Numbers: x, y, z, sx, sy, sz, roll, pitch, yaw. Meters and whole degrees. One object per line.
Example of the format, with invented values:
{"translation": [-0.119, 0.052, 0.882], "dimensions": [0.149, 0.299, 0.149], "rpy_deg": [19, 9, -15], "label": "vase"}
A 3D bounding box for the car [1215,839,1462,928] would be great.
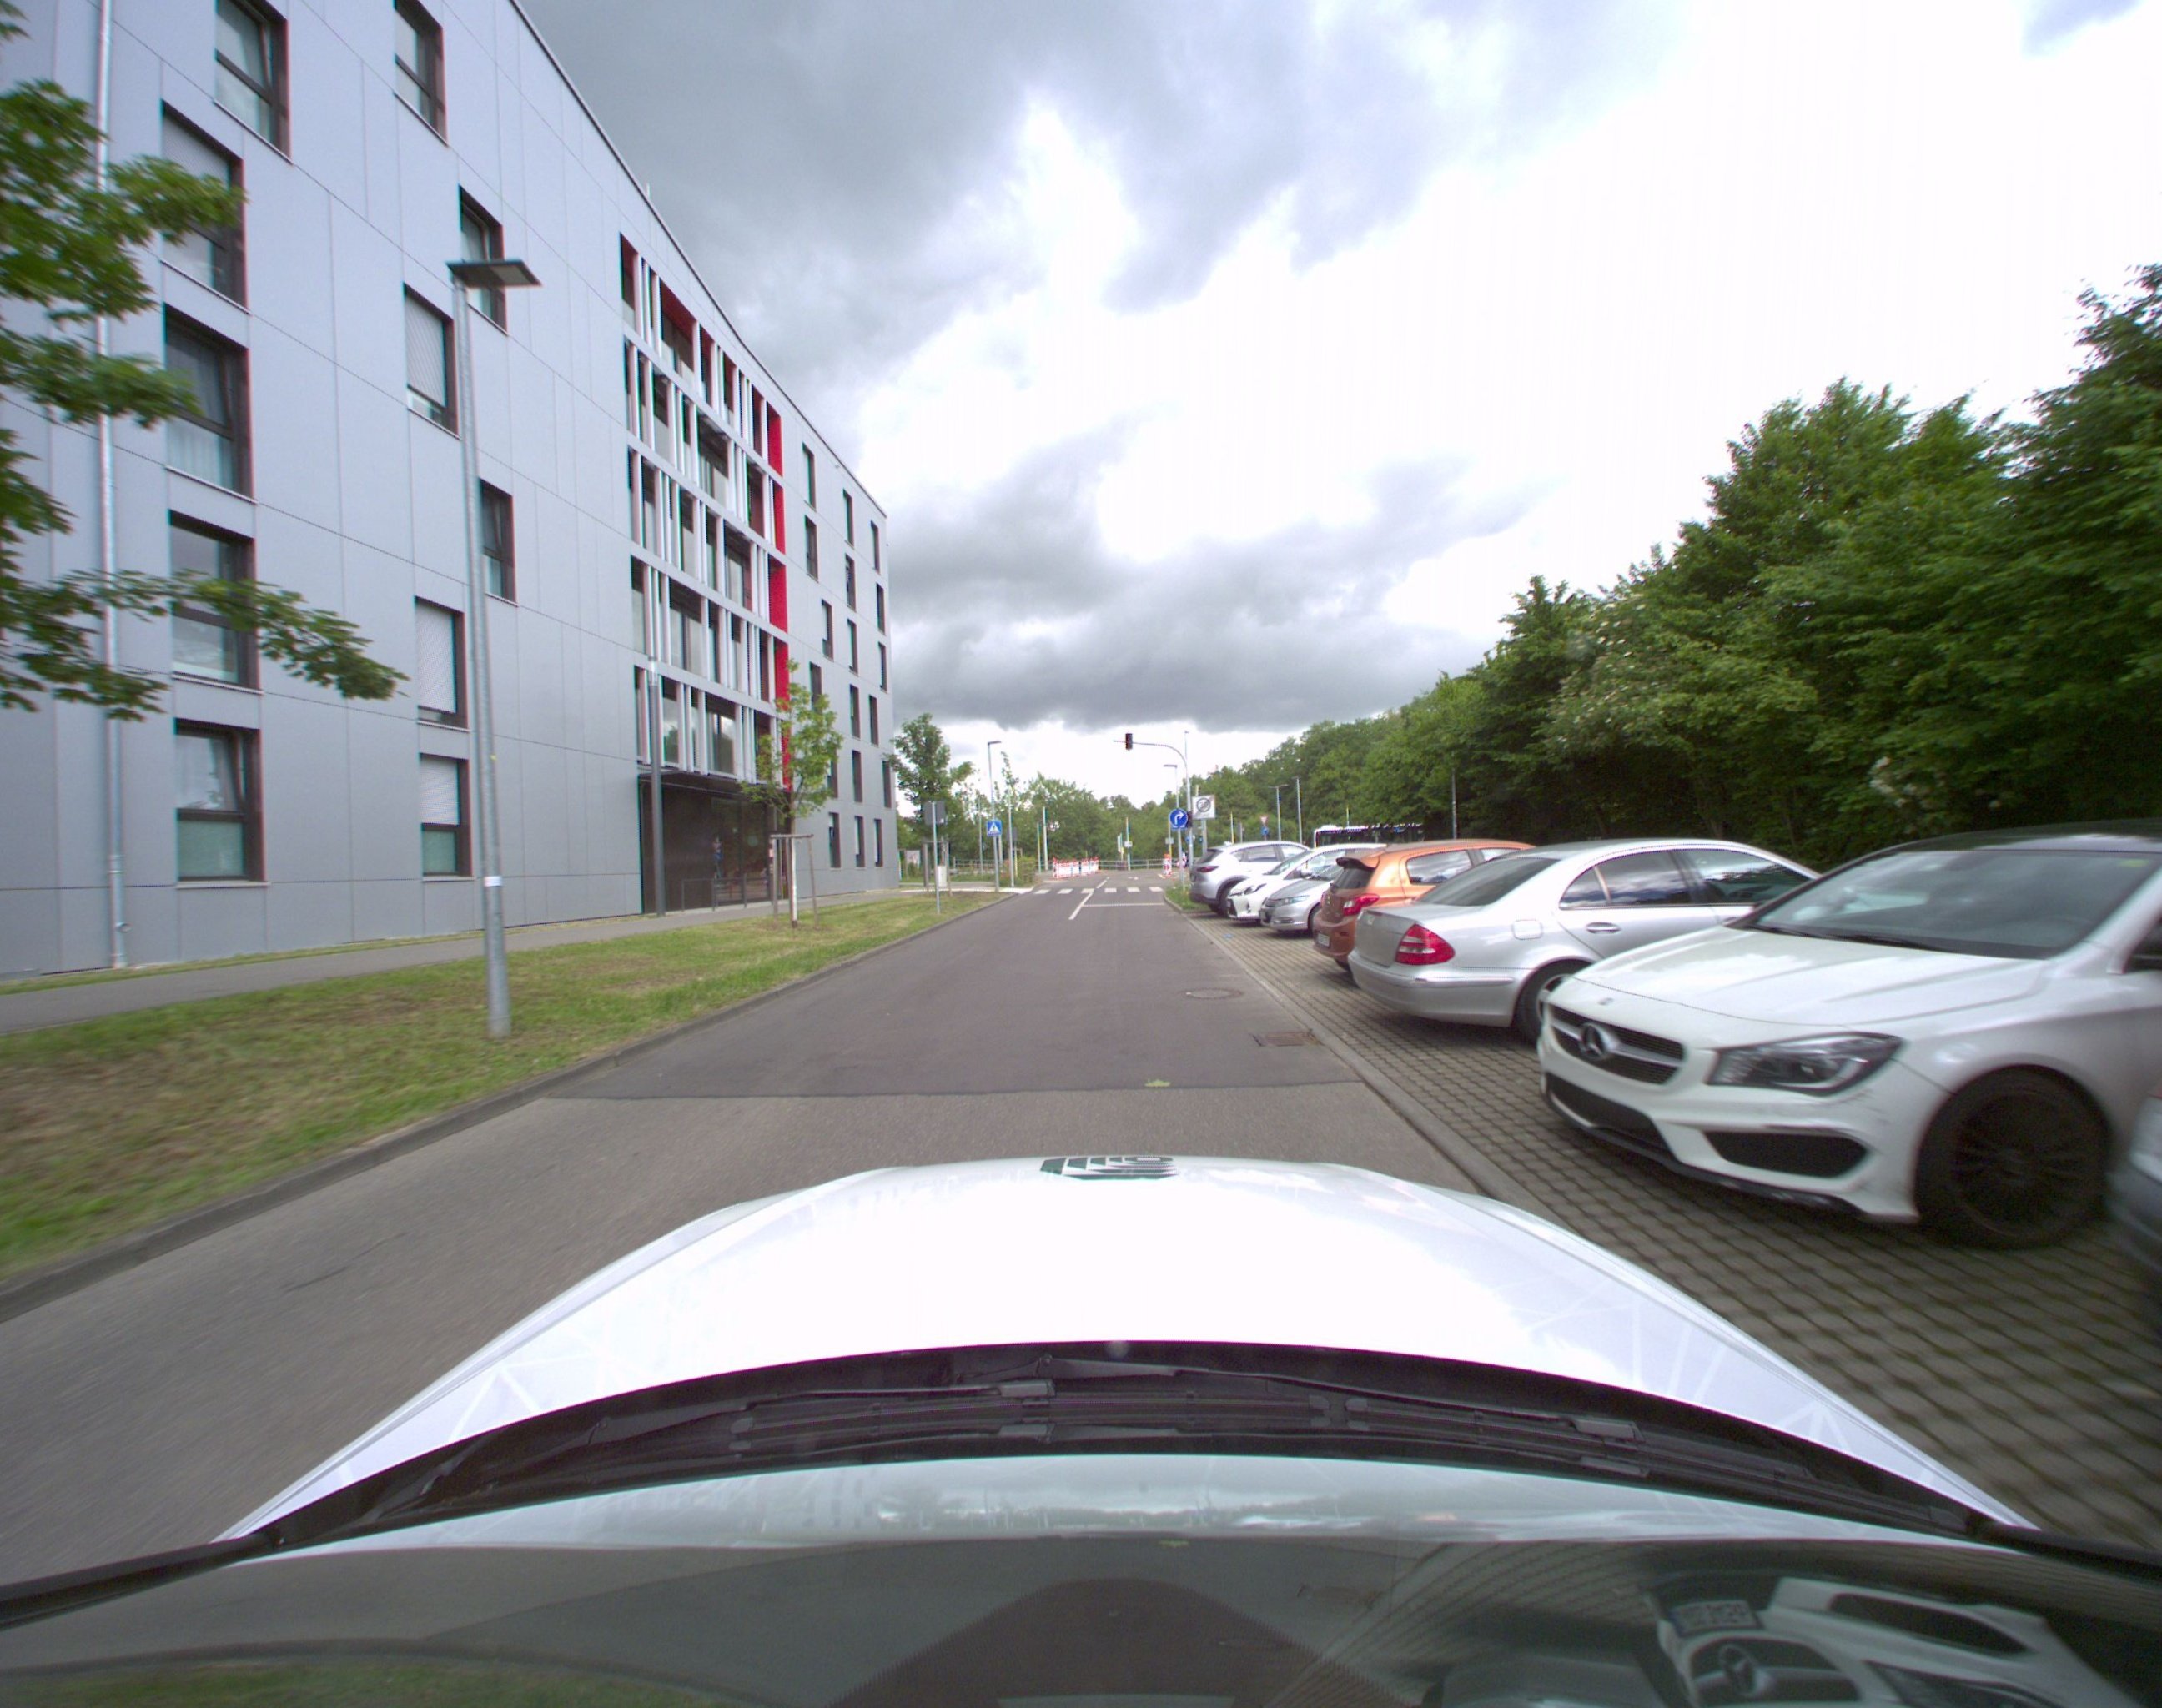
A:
{"translation": [5.053, 0.559, 16.441], "dimensions": [4.365, 1.582, 1.916], "rpy_deg": [-1, 0, 0], "label": "car"}

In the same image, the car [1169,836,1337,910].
{"translation": [4.801, 0.523, 23.230], "dimensions": [4.365, 1.903, 1.916], "rpy_deg": [-1, 0, 0], "label": "car"}

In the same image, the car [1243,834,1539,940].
{"translation": [5.169, 0.530, 14.023], "dimensions": [4.365, 1.582, 1.916], "rpy_deg": [-1, 0, 0], "label": "car"}

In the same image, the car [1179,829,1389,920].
{"translation": [4.594, 0.448, 18.897], "dimensions": [4.365, 1.903, 1.916], "rpy_deg": [-1, 0, 0], "label": "car"}

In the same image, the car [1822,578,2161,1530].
{"translation": [4.330, 0.354, 1.388], "dimensions": [4.365, 1.904, 1.936], "rpy_deg": [-1, 0, 0], "label": "car"}

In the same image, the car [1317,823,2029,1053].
{"translation": [4.365, 0.579, 6.575], "dimensions": [4.365, 1.475, 1.916], "rpy_deg": [-1, 0, 0], "label": "car"}

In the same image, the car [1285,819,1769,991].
{"translation": [4.721, 0.513, 9.131], "dimensions": [4.365, 1.618, 1.916], "rpy_deg": [-1, 0, 0], "label": "car"}

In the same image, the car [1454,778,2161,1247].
{"translation": [4.364, 0.524, 3.785], "dimensions": [4.365, 1.574, 1.916], "rpy_deg": [-1, -1, 0], "label": "car"}
